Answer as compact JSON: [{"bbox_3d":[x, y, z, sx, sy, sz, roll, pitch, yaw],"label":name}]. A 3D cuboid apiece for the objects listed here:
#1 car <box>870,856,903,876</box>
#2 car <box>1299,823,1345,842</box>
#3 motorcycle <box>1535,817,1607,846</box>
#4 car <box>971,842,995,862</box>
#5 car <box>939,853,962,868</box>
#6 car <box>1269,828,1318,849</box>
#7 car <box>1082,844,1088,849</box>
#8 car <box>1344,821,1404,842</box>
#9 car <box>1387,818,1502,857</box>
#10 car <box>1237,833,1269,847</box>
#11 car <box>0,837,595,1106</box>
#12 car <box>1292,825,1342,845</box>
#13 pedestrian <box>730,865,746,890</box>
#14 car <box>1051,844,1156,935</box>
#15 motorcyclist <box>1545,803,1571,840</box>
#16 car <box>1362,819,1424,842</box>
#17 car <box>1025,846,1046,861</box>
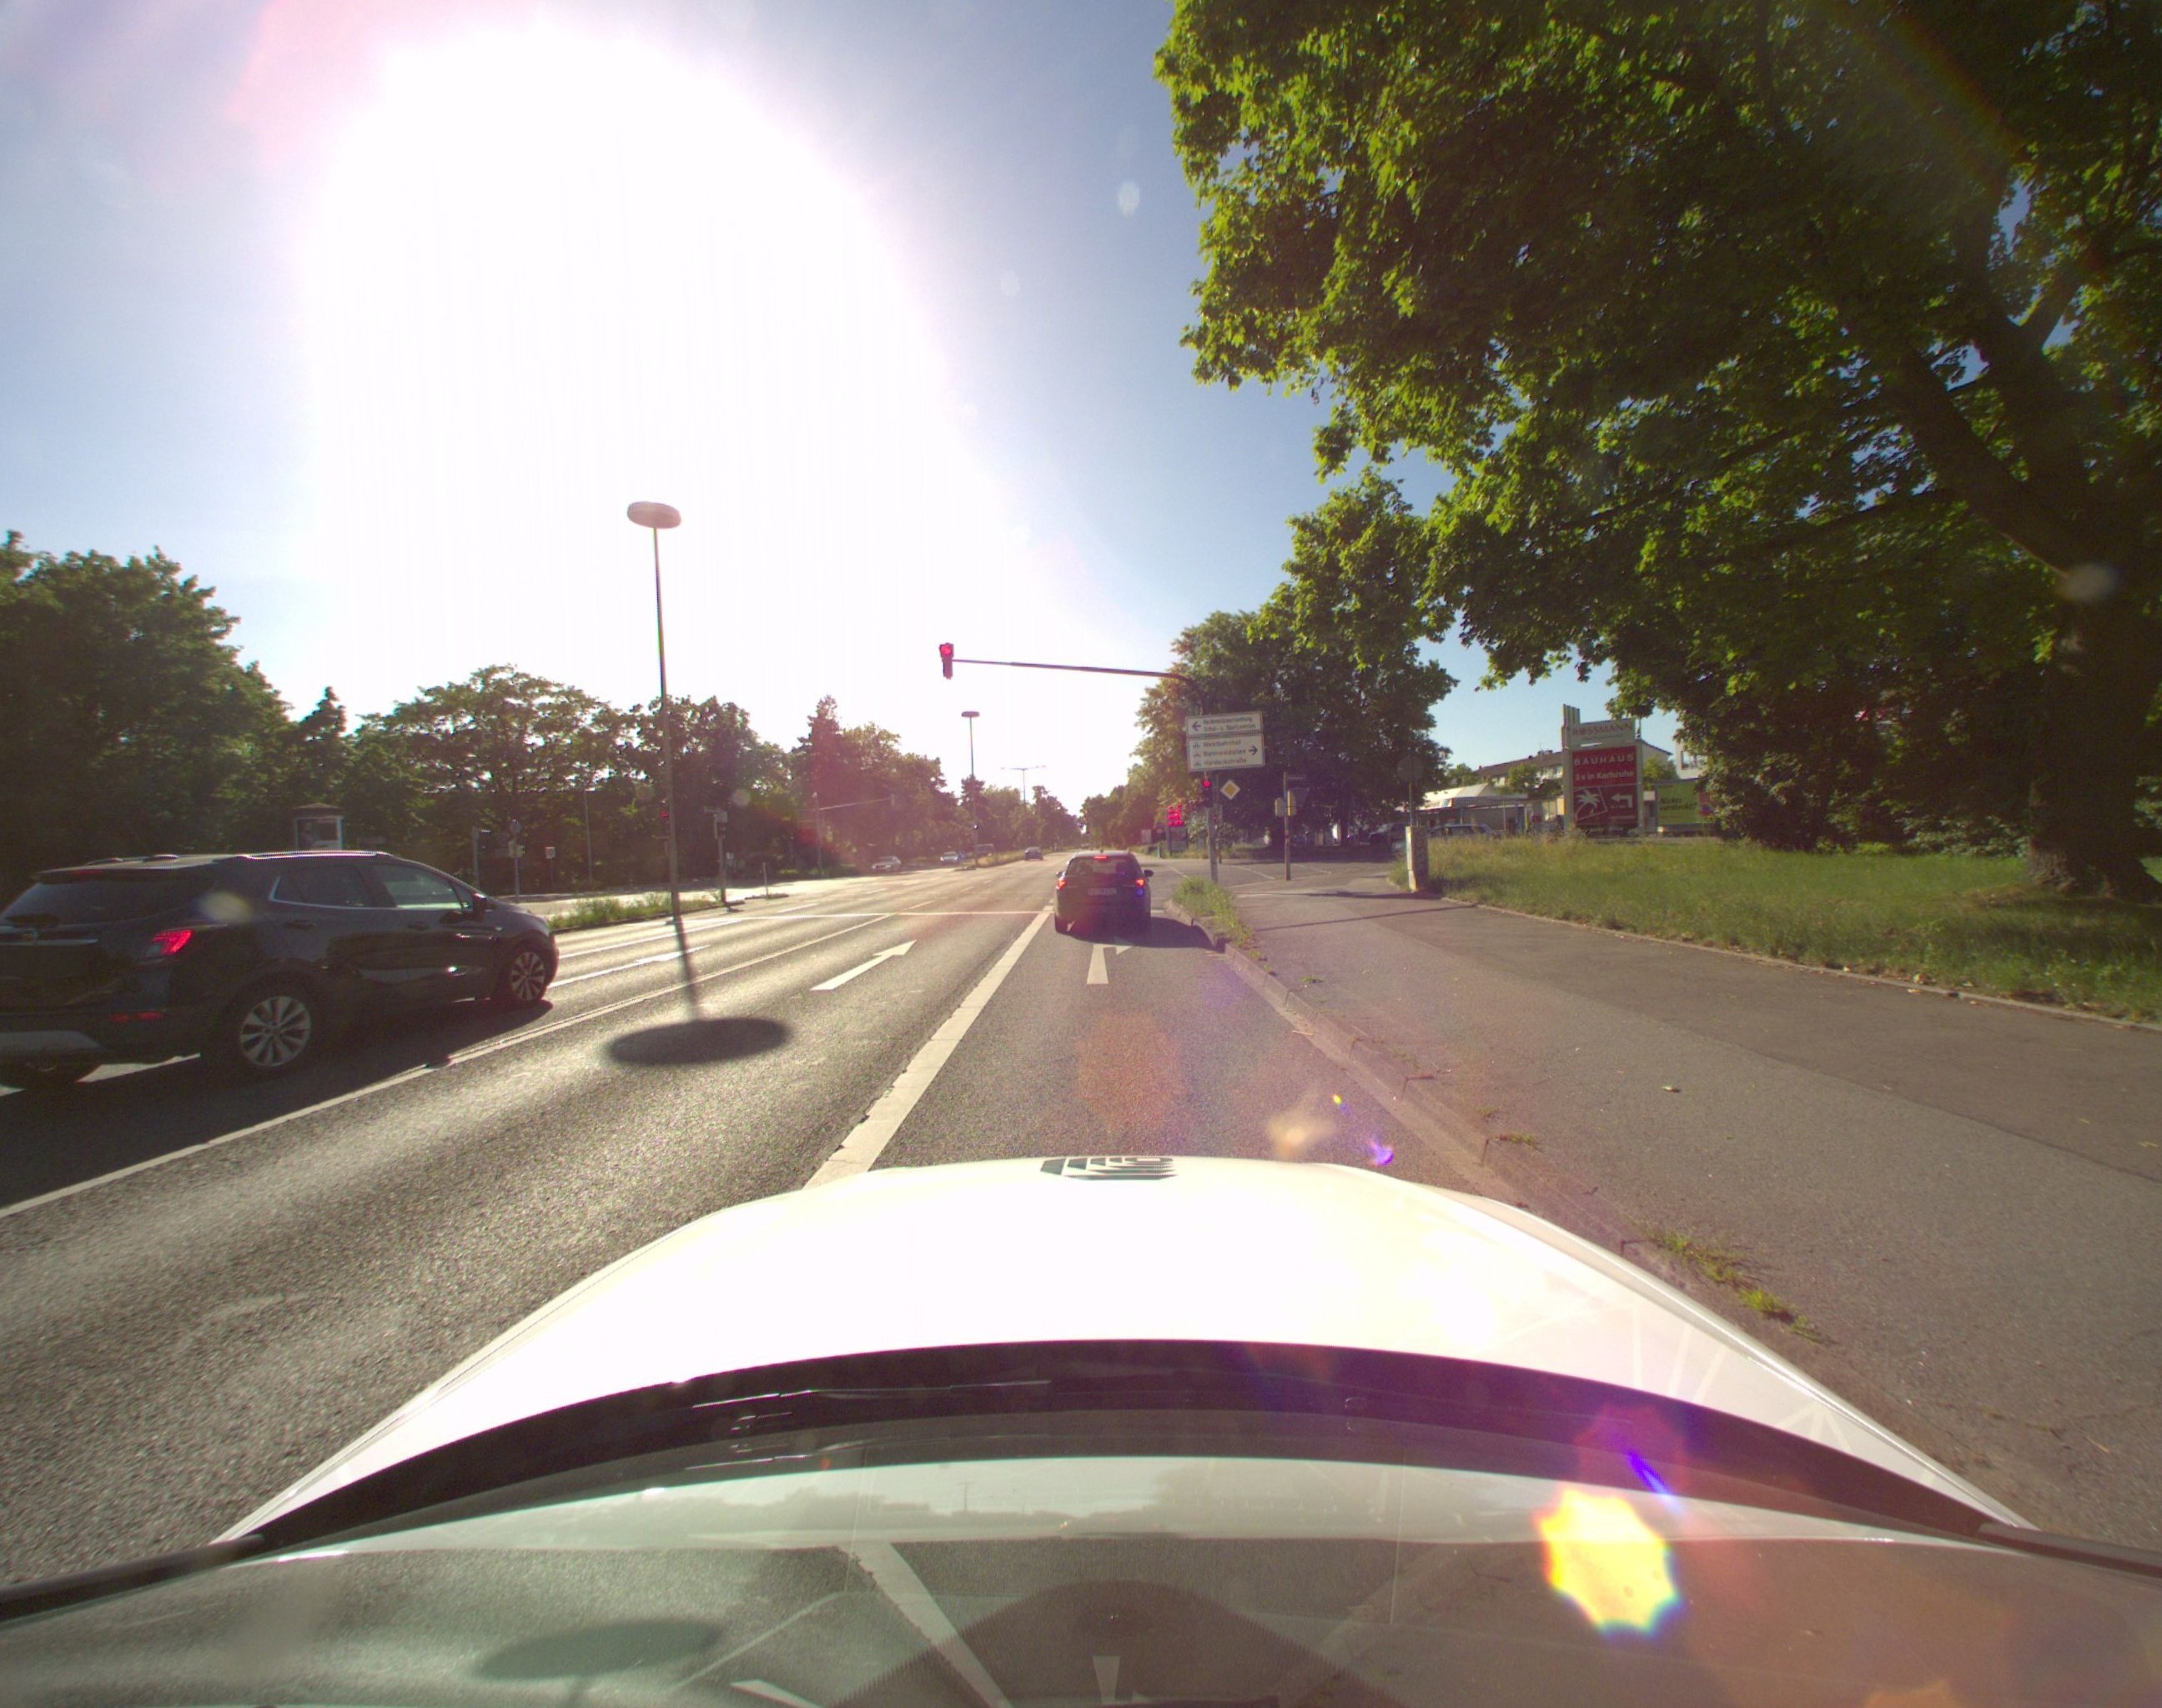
[{"bbox_3d":[-17.460,1.069,73.225,1.857,1.684,4.262,0,0,1],"label":"car"},{"bbox_3d":[21.996,-1.949,74.514,3.701,1.685,1.703,0,0,-2],"label":"car"},{"bbox_3d":[22.328,-1.022,37.163,2.703,1.270,0.838,0,0,17],"label":"motorcycle"},{"bbox_3d":[-10.434,-0.237,86.669,1.986,2.013,4.001,0,0,1],"label":"car"},{"bbox_3d":[-14.892,0.712,93.250,1.857,1.684,4.001,0,0,1],"label":"car"},{"bbox_3d":[17.912,-1.284,68.671,3.730,1.685,1.690,-1,0,-25],"label":"car"},{"bbox_3d":[1.306,-2.174,246.142,1.726,1.585,3.841,0,0,1],"label":"car"},{"bbox_3d":[21.271,-1.604,59.190,3.846,1.482,1.794,-1,0,-18],"label":"car"},{"bbox_3d":[16.944,-0.755,38.225,4.587,1.574,2.007,-3,-1,12],"label":"car"},{"bbox_3d":[21.443,-1.787,101.542,3.701,1.685,1.703,0,0,-2],"label":"car"},{"bbox_3d":[-6.592,0.733,7.284,1.689,1.632,4.419,-2,0,1],"label":"car"},{"bbox_3d":[19.191,-1.536,66.206,3.861,1.563,1.787,-1,0,-31],"label":"car"},{"bbox_3d":[-26.255,1.790,62.285,0.842,1.835,0.550,-3,0,5],"label":"pedestrian"},{"bbox_3d":[0.431,0.605,15.884,1.749,1.509,3.809,-2,0,1],"label":"car"},{"bbox_3d":[21.837,-1.478,37.297,0.853,1.680,0.838,-1,0,17],"label":"motorcyclist"},{"bbox_3d":[22.012,-1.639,57.420,3.846,1.611,1.794,-1,0,-18],"label":"car"},{"bbox_3d":[-4.944,-0.082,88.470,1.882,1.552,4.001,-3,0,1],"label":"car"}]
